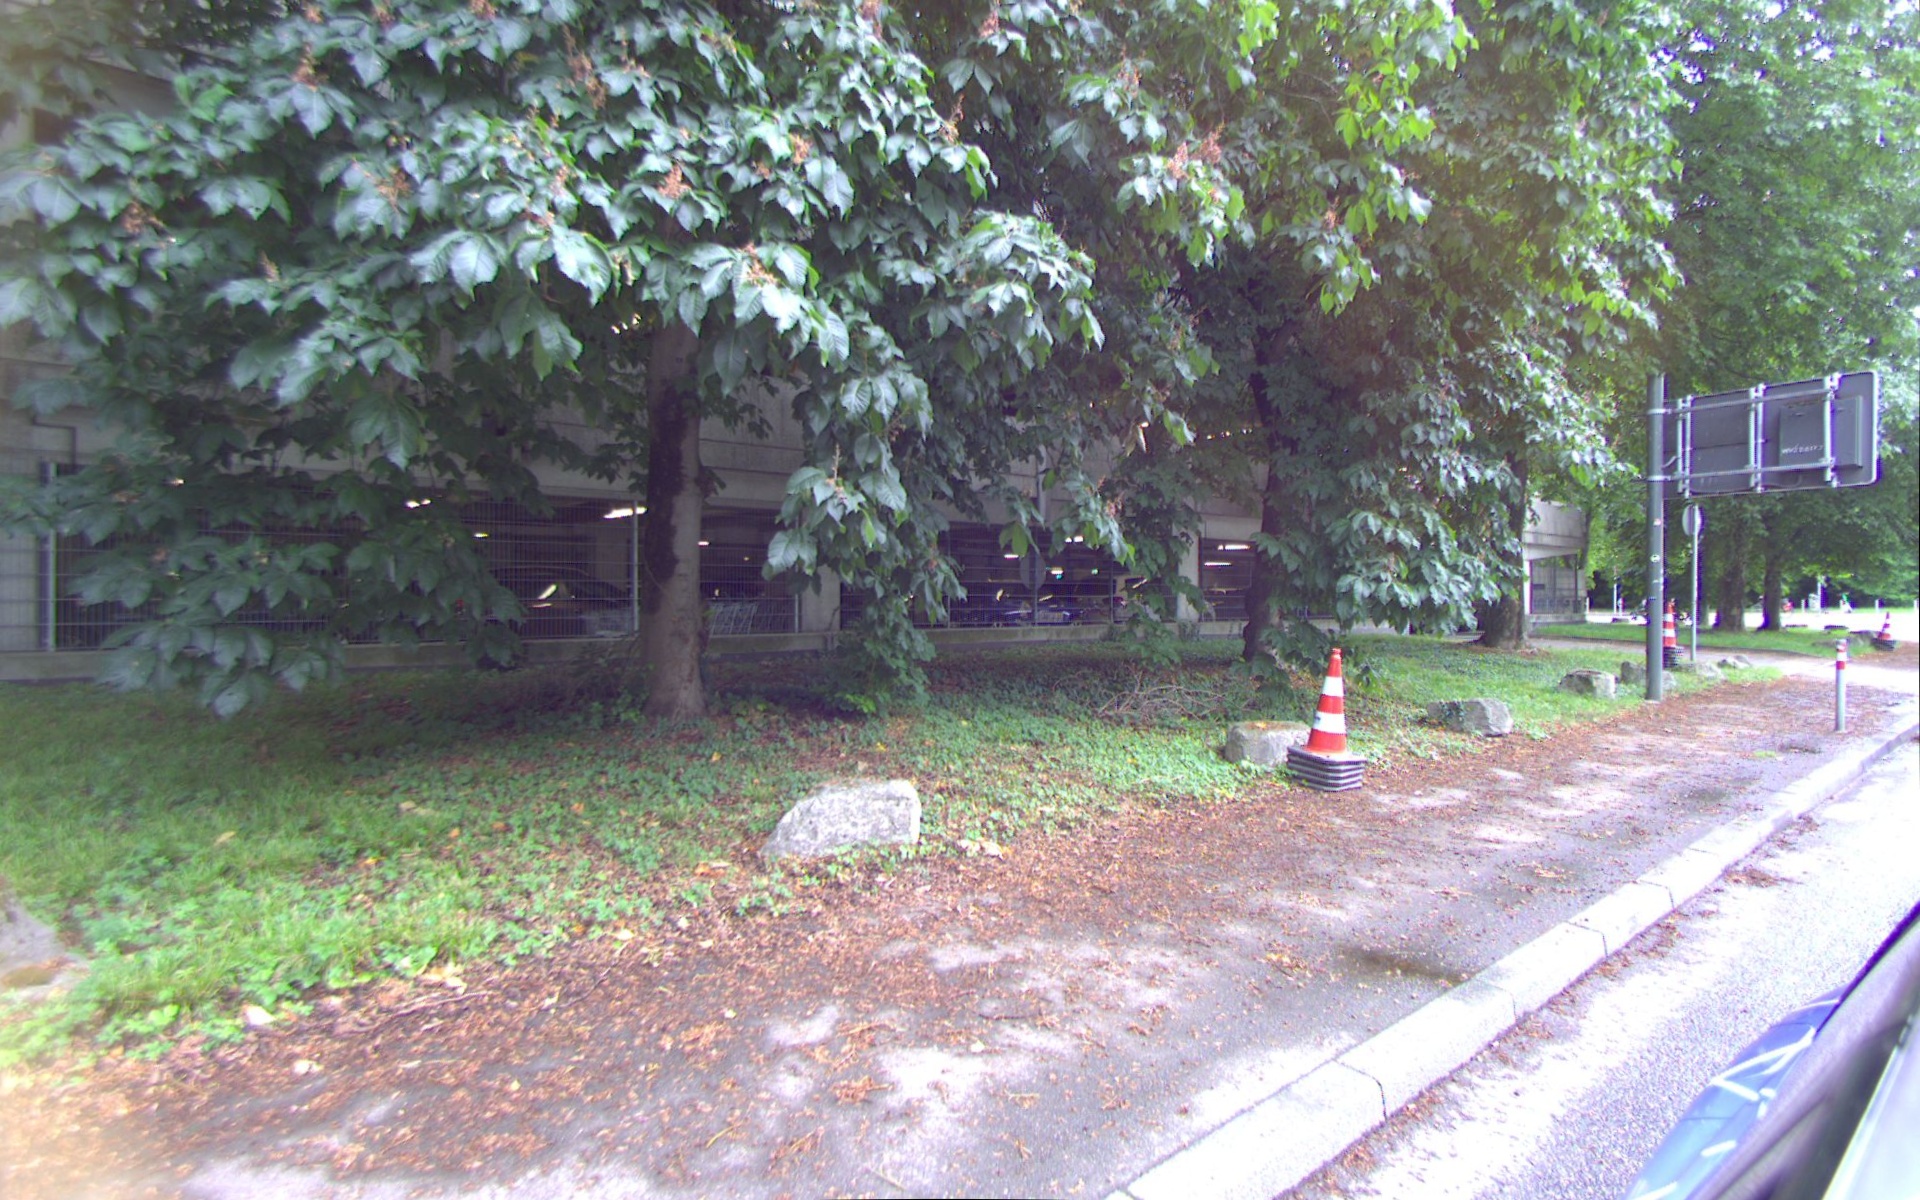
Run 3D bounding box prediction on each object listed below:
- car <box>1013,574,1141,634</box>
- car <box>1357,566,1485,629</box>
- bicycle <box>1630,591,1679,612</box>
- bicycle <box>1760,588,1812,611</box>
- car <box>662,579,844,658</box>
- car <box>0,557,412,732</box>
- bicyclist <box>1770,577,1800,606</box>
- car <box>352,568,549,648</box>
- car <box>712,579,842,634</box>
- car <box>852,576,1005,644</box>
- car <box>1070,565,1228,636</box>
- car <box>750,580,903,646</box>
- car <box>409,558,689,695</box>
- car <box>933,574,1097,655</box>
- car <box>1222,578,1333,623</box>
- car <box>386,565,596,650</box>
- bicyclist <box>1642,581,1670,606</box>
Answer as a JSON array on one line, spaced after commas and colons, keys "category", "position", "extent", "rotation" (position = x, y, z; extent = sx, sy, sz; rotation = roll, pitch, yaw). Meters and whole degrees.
[{"category": "car", "position": [3.448, 0.082, 29.413], "extent": [3.629, 1.606, 1.718], "rotation": [-2, 1, -42]}, {"category": "car", "position": [14.543, -0.086, 31.806], "extent": [4.653, 1.858, 1.922], "rotation": [-1, 0, -41]}, {"category": "bicycle", "position": [40.277, 0.096, 58.724], "extent": [0.736, 1.137, 2.252], "rotation": [-2, 0, -44]}, {"category": "bicycle", "position": [44.158, -0.034, 54.146], "extent": [0.765, 1.157, 2.047], "rotation": [-3, 1, -42]}, {"category": "car", "position": [-4.589, 0.363, 22.698], "extent": [3.639, 1.565, 1.718], "rotation": [-2, 1, -42]}, {"category": "car", "position": [-10.332, 0.473, 13.894], "extent": [4.594, 2.039, 1.996], "rotation": [-2, 0, -41]}, {"category": "bicyclist", "position": [44.143, -0.459, 54.149], "extent": [0.912, 1.514, 1.099], "rotation": [-3, 1, -42]}, {"category": "car", "position": [-11.444, 0.140, 22.844], "extent": [3.639, 1.627, 1.718], "rotation": [-2, 1, -42]}, {"category": "car", "position": [-5.717, 0.178, 31.858], "extent": [3.638, 1.565, 1.719], "rotation": [-2, 1, -41]}, {"category": "car", "position": [-0.762, 0.227, 25.798], "extent": [3.639, 1.565, 1.718], "rotation": [-2, 1, -42]}, {"category": "car", "position": [5.075, -0.029, 26.818], "extent": [4.587, 1.730, 1.588], "rotation": [-2, 0, -41]}, {"category": "car", "position": [-3.450, 0.293, 26.541], "extent": [3.639, 1.565, 1.718], "rotation": [-2, 1, -42]}, {"category": "car", "position": [-6.872, 0.346, 17.080], "extent": [3.929, 2.039, 1.997], "rotation": [-2, 0, -40]}, {"category": "car", "position": [1.353, 0.293, 23.805], "extent": [3.791, 1.730, 1.588], "rotation": [-2, 0, -41]}, {"category": "car", "position": [11.362, 0.007, 36.144], "extent": [3.927, 1.471, 1.876], "rotation": [-2, 1, -38]}, {"category": "car", "position": [-9.756, 0.110, 21.200], "extent": [3.639, 1.627, 1.718], "rotation": [-2, 1, -42]}, {"category": "bicyclist", "position": [40.337, -0.364, 58.655], "extent": [0.731, 1.448, 1.156], "rotation": [-2, 0, -44]}]
